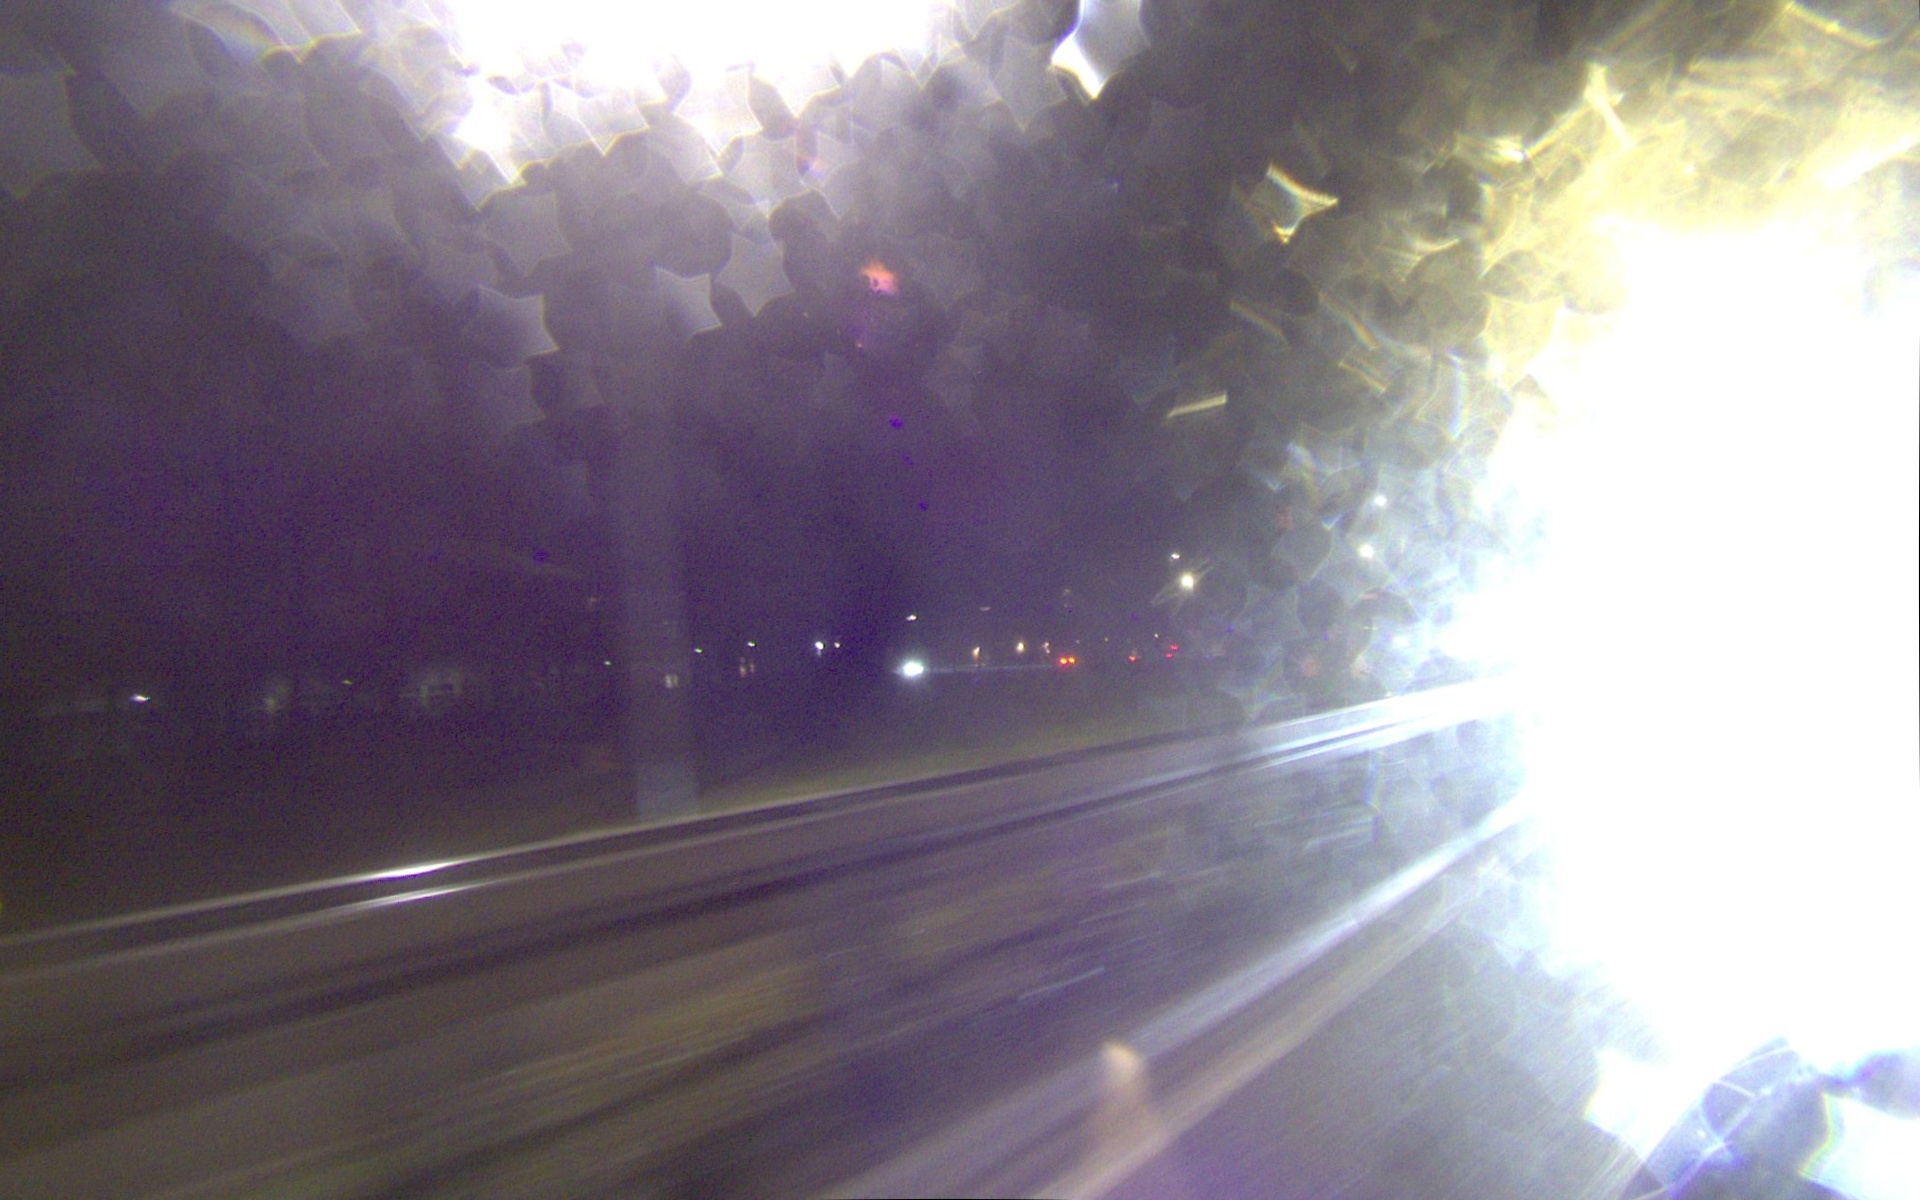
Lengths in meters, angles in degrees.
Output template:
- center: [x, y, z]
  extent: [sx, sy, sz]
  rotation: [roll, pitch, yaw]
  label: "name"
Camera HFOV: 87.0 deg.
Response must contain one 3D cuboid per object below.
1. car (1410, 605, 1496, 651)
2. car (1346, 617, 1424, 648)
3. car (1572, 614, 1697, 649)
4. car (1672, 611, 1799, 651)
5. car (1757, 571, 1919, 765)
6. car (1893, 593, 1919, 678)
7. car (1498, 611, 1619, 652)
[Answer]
- center: [25.175, 1.469, 51.824]
  extent: [1.728, 2.040, 4.004]
  rotation: [-5, -3, -11]
  label: "car"
- center: [24.186, 1.858, 57.774]
  extent: [1.958, 1.661, 4.352]
  rotation: [-1, -2, -11]
  label: "car"
- center: [29.870, 1.356, 44.981]
  extent: [1.958, 1.427, 4.553]
  rotation: [0, 0, -11]
  label: "car"
- center: [34.240, 1.333, 44.806]
  extent: [1.958, 1.661, 4.126]
  rotation: [0, 0, -14]
  label: "car"
- center: [9.921, 0.607, 10.680]
  extent: [1.923, 1.736, 4.170]
  rotation: [1, 0, 45]
  label: "car"
- center: [20.514, 0.699, 20.337]
  extent: [4.211, 1.641, 2.045]
  rotation: [1, -2, -40]
  label: "car"
- center: [26.667, 1.356, 45.305]
  extent: [1.958, 1.661, 4.790]
  rotation: [0, 0, -11]
  label: "car"
